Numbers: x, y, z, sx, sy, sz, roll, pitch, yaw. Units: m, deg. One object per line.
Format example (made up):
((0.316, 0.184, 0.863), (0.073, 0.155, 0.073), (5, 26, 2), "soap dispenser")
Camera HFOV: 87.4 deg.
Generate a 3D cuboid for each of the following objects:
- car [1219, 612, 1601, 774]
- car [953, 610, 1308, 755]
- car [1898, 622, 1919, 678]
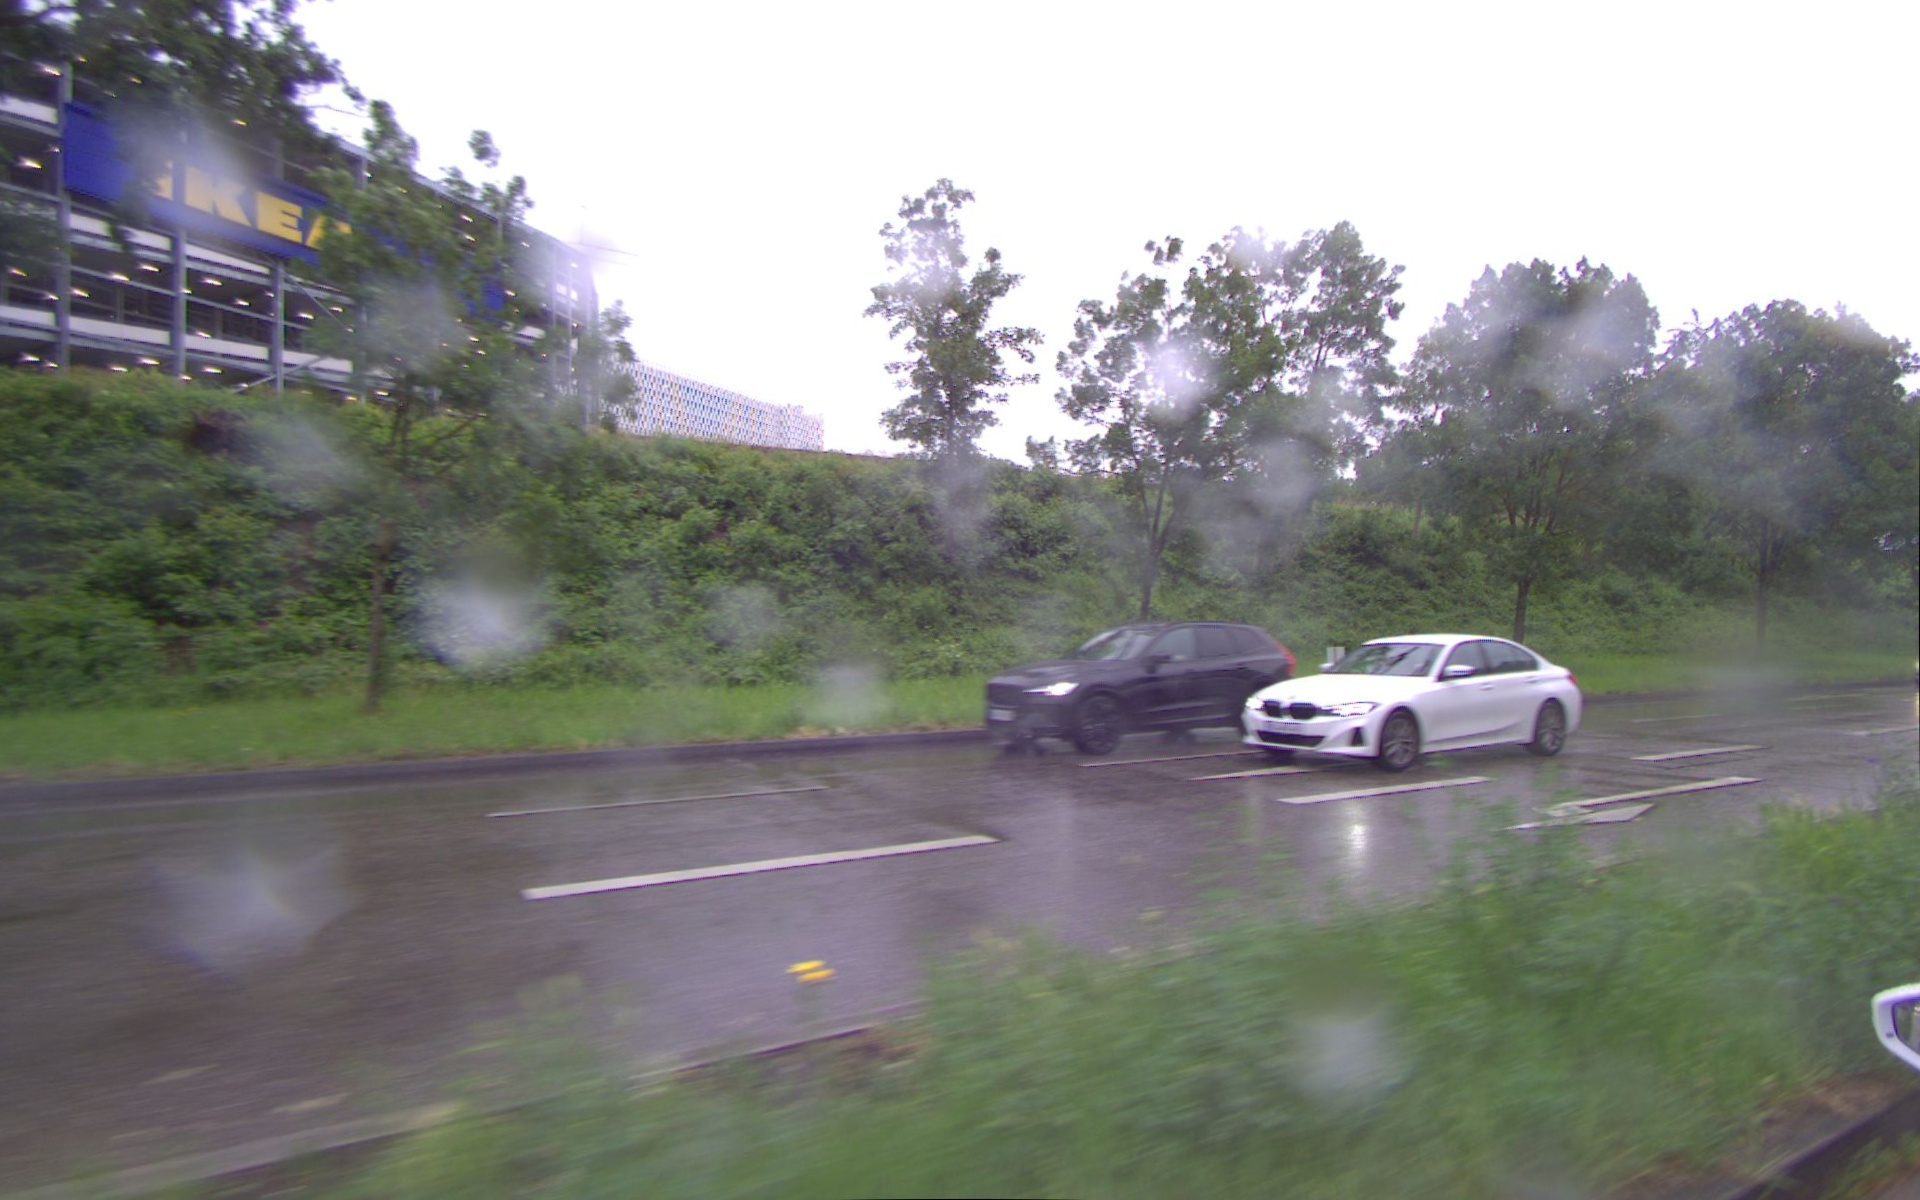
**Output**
((5.522, 1.021, 12.181), (4.657, 1.634, 1.889), (1, -3, -31), "car")
((2.391, 1.015, 13.734), (4.625, 1.682, 2.027), (1, -2, -31), "car")
((29.907, 1.478, 29.822), (4.427, 1.634, 1.889), (1, -2, -31), "car")
